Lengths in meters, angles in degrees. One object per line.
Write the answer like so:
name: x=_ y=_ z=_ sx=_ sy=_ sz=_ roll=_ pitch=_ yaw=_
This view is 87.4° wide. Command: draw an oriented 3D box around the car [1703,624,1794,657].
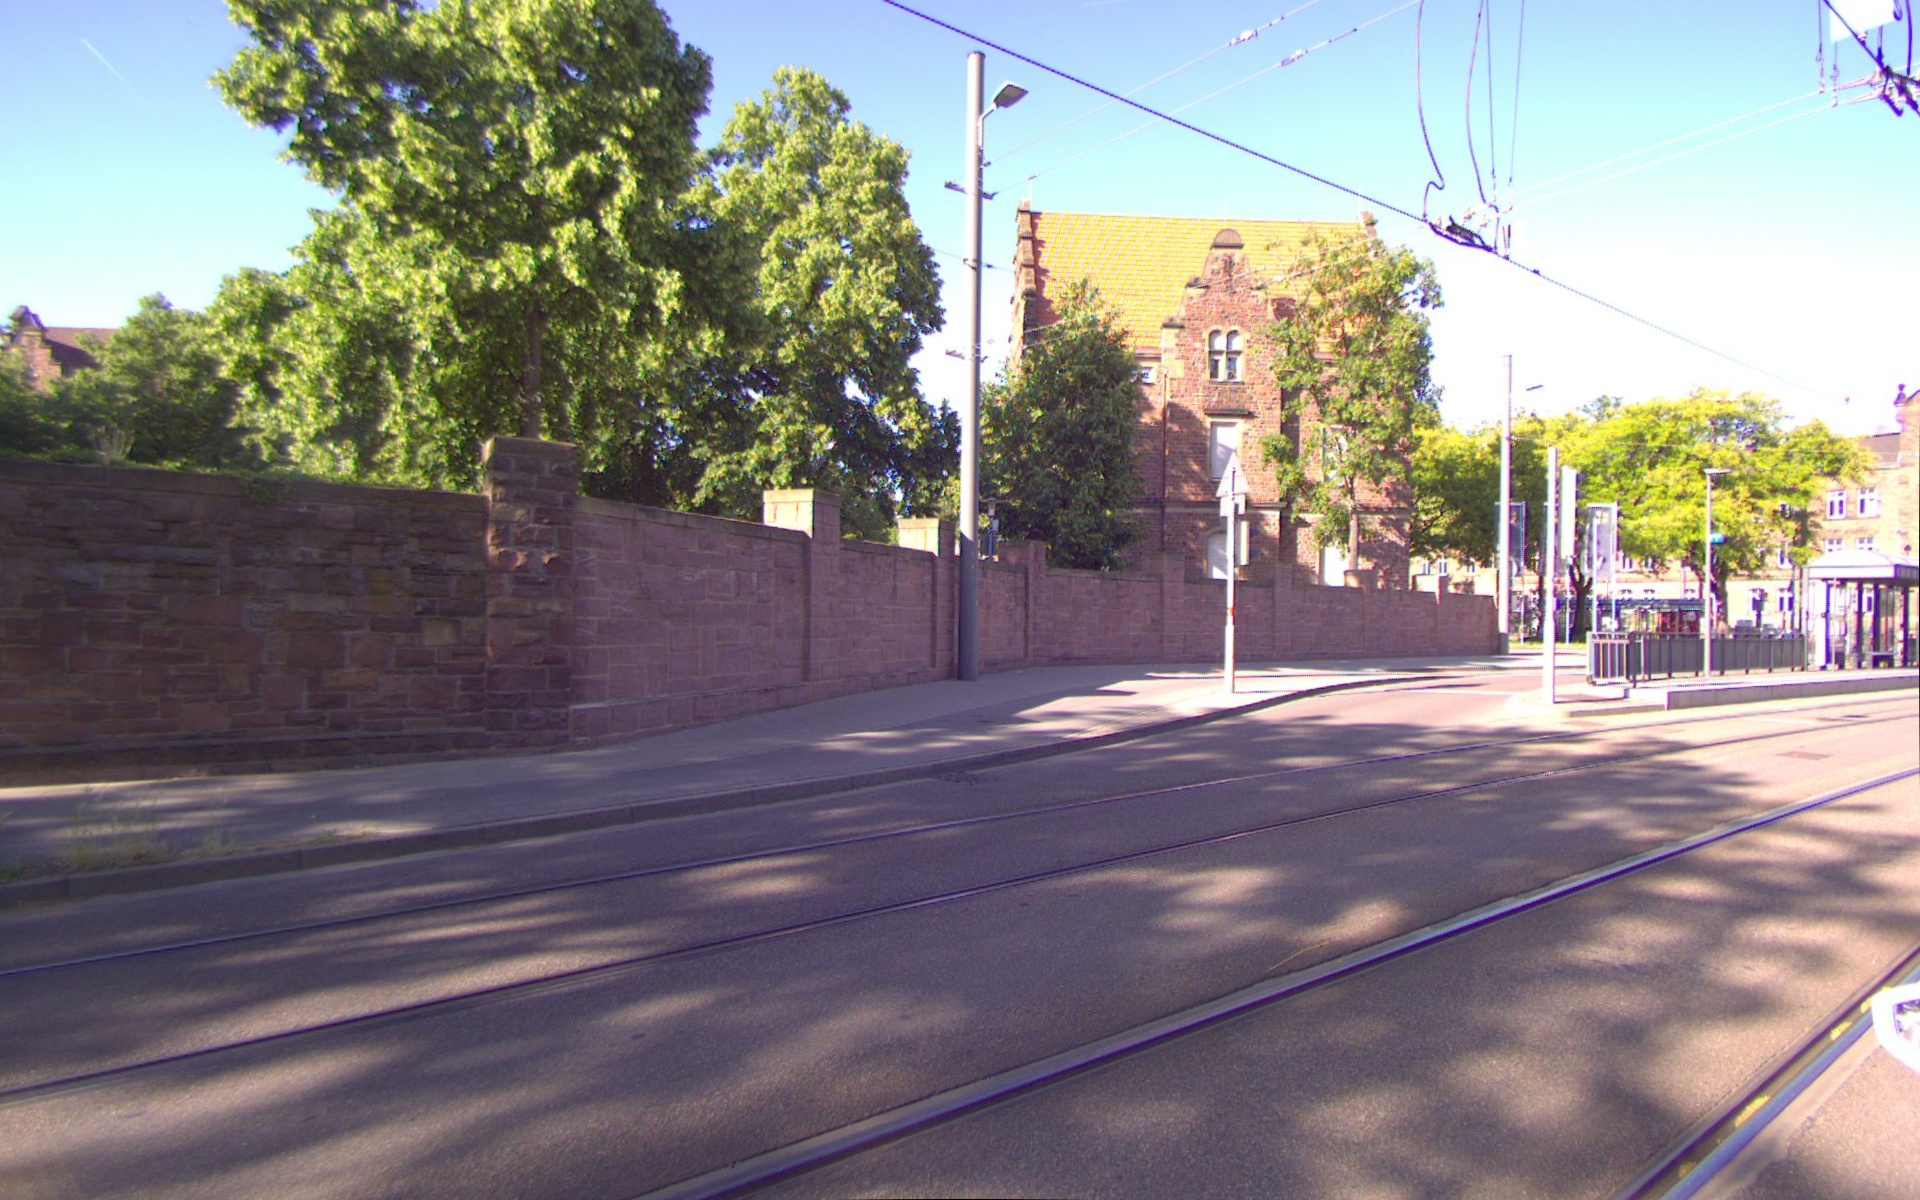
car: x=47.527 y=2.428 z=60.598 sx=1.981 sy=1.813 sz=3.959 roll=1 pitch=0 yaw=-36
